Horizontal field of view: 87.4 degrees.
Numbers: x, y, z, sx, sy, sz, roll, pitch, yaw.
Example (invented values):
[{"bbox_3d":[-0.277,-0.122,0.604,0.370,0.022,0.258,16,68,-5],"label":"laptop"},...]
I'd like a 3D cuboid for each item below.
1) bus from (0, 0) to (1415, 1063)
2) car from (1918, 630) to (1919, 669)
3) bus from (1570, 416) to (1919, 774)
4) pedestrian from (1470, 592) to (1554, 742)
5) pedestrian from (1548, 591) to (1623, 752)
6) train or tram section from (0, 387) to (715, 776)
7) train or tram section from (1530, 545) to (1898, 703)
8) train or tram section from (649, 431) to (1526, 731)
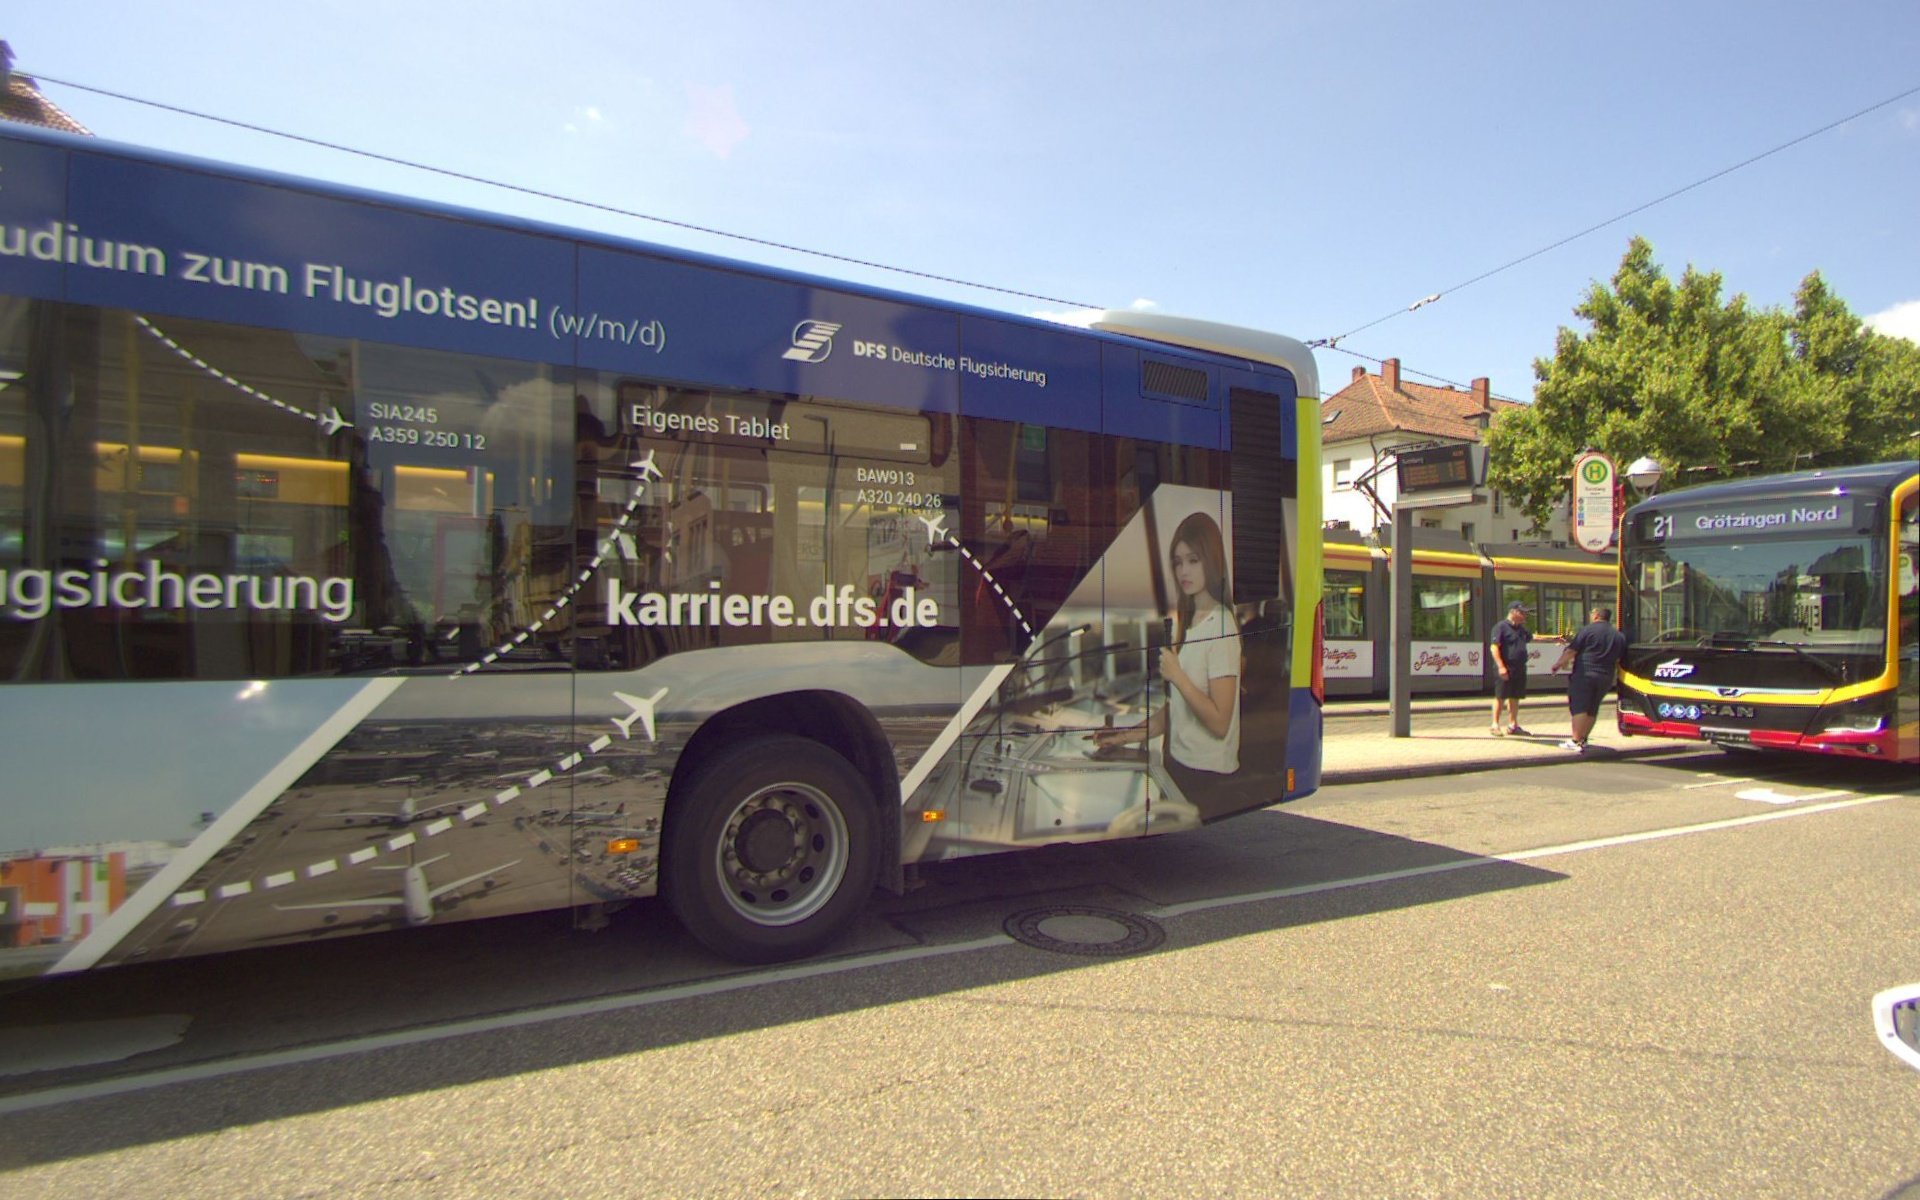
[{"bbox_3d":[-3.317,-0.491,4.011,11.899,3.472,2.894,3,0,-30],"label":"bus"},{"bbox_3d":[34.479,1.744,33.709,3.240,1.391,1.461,3,0,41],"label":"car"},{"bbox_3d":[13.148,0.187,13.450,12.050,3.290,2.885,3,0,-29],"label":"bus"},{"bbox_3d":[6.981,0.826,12.735,0.767,1.801,0.574,3,0,19],"label":"pedestrian"},{"bbox_3d":[7.258,0.811,11.675,0.582,1.801,0.386,3,0,19],"label":"pedestrian"},{"bbox_3d":[-9.205,-0.193,10.586,12.506,3.542,2.949,2,1,-30],"label":"train or tram section"},{"bbox_3d":[21.625,0.720,28.290,13.827,3.691,2.949,2,1,-30],"label":"train or tram section"},{"bbox_3d":[3.565,-0.026,17.919,17.145,3.691,2.949,2,1,-30],"label":"train or tram section"}]
